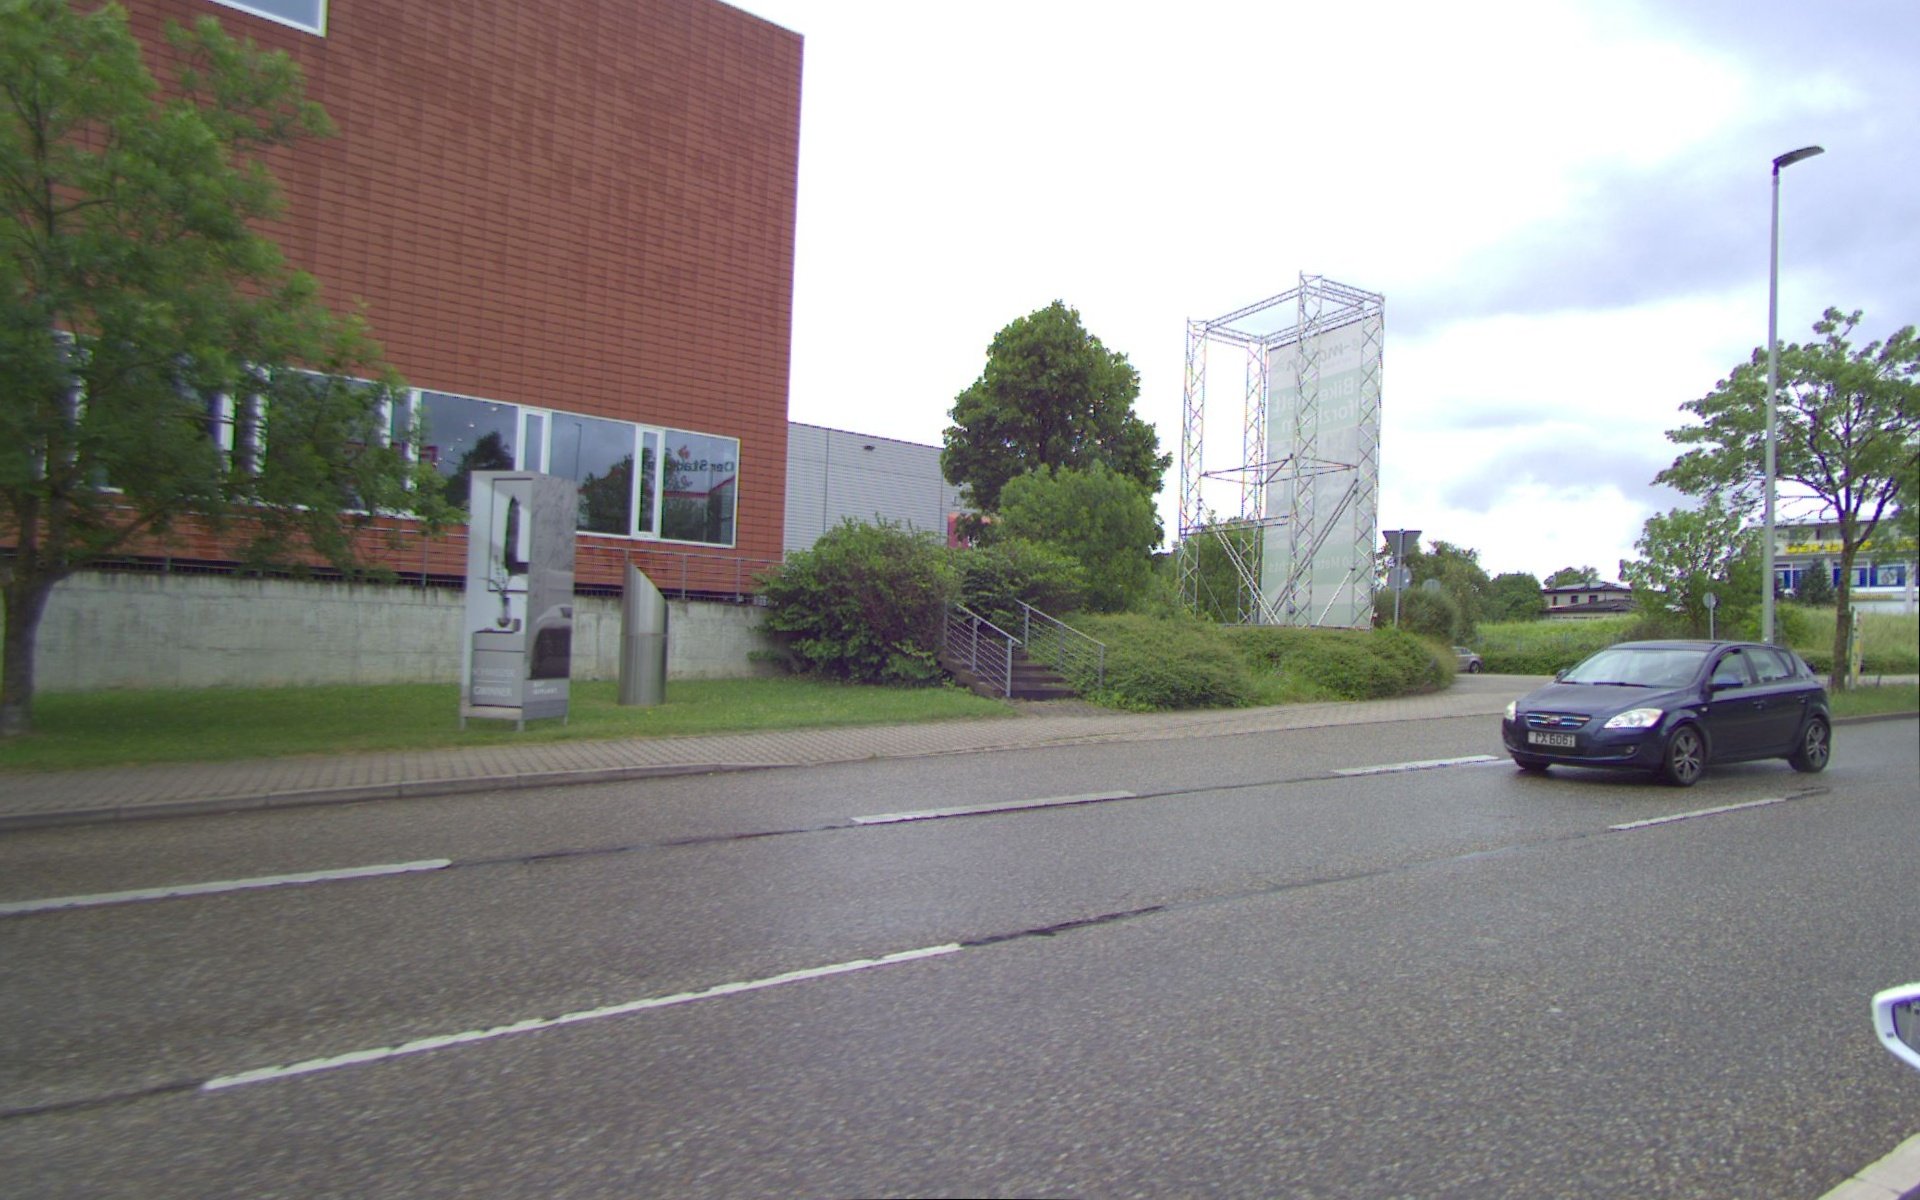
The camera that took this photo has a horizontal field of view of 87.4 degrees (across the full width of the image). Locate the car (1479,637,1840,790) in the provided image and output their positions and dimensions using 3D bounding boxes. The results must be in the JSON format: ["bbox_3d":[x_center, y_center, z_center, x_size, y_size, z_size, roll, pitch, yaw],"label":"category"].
[{"bbox_3d":[7.986,1.177,11.438,3.949,1.473,1.731,1,-3,-27],"label":"car"}]

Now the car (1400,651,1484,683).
[{"bbox_3d":[25.626,3.553,53.375,4.231,1.635,1.528,1,-1,-20],"label":"car"}]
